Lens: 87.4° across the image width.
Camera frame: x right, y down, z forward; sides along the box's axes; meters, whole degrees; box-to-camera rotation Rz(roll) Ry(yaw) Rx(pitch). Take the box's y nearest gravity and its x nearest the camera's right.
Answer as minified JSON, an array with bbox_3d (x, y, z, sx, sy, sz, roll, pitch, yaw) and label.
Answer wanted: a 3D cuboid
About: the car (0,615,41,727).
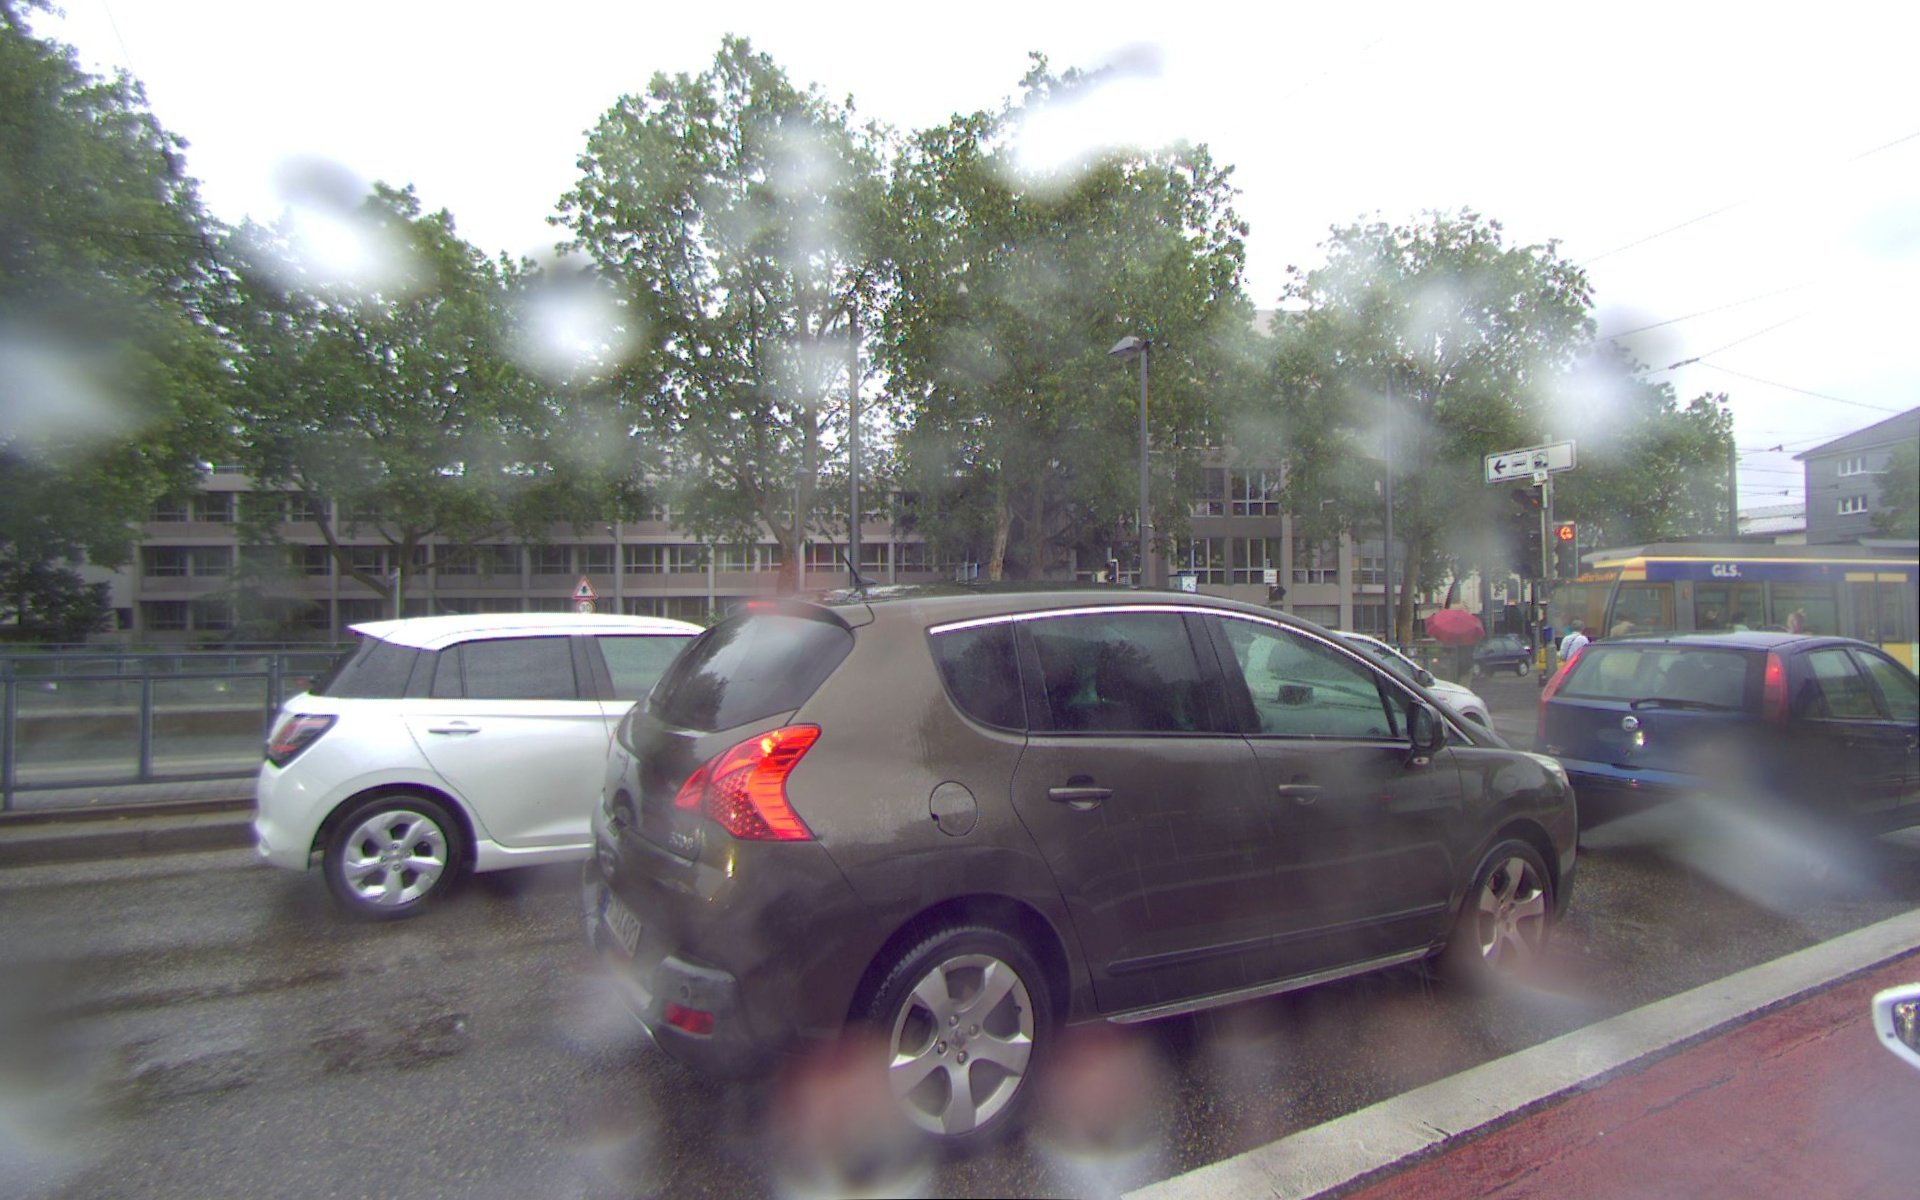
[{"bbox_3d":[-17.452,1.099,15.862,3.953,1.744,1.984,1,-1,-30],"label":"car"}]

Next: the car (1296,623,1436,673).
[{"bbox_3d":[11.583,1.353,28.686,3.466,1.331,1.594,1,-1,-16],"label":"car"}]

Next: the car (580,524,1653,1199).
[{"bbox_3d":[0.778,0.721,4.115,4.124,1.690,1.825,1,-1,-30],"label":"car"}]

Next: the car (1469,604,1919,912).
[{"bbox_3d":[5.476,0.873,6.953,3.776,1.599,1.719,1,-1,-30],"label":"car"}]

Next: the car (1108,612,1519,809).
[{"bbox_3d":[3.379,0.911,9.461,3.738,1.514,1.621,1,-1,-30],"label":"car"}]

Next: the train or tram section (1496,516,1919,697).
[{"bbox_3d":[19.579,0.254,22.898,13.407,3.559,3.520,2,0,-8],"label":"train or tram section"}]

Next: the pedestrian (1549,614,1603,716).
[{"bbox_3d":[10.246,1.061,16.695,0.618,1.628,0.738,1,0,43],"label":"pedestrian"}]

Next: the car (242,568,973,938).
[{"bbox_3d":[-1.956,0.738,6.162,3.791,1.650,1.637,1,-2,-30],"label":"car"}]

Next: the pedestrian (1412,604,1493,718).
[{"bbox_3d":[7.945,0.976,16.210,0.888,1.769,0.762,0,-3,-30],"label":"pedestrian"}]
